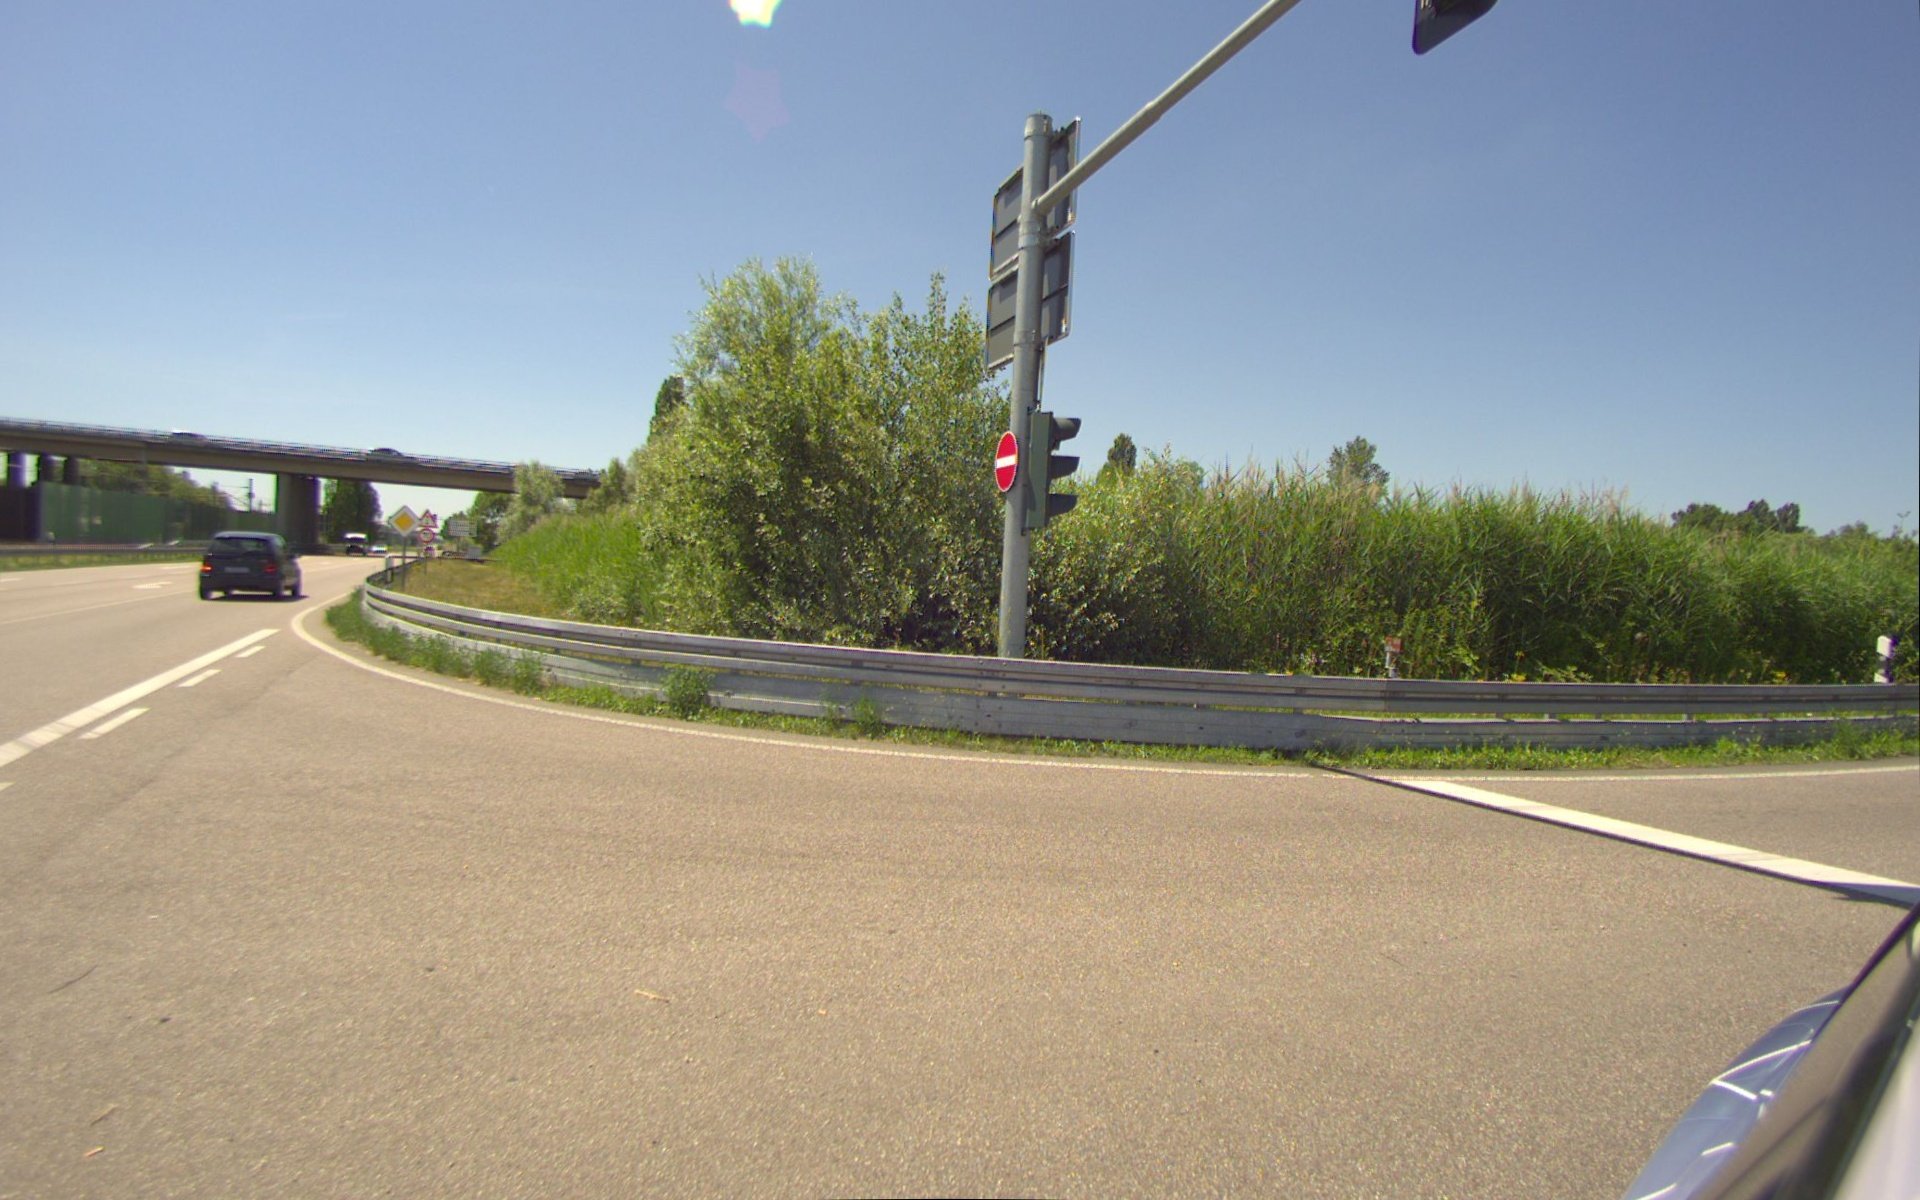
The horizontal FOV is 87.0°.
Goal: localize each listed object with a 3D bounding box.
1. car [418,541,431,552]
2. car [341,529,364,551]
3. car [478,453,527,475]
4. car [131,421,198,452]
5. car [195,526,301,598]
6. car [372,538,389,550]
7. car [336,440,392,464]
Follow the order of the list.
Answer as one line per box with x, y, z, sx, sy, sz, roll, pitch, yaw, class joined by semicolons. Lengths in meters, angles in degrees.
-80.243;-8.067;151.539;1.557;1.581;3.695;0;3;-25;car
-72.038;-7.090;119.964;1.873;2.471;4.658;0;3;-25;car
-47.665;-14.124;105.533;4.551;1.918;1.917;0;2;-23;car
-74.333;-15.263;94.645;4.550;2.471;1.918;0;2;-21;car
-17.535;-0.962;25.068;1.609;1.616;3.568;1;2;-26;car
-86.454;-8.372;151.031;1.806;1.711;4.008;1;2;-26;car
-58.381;-14.464;99.249;4.551;1.918;1.917;0;2;-23;car
